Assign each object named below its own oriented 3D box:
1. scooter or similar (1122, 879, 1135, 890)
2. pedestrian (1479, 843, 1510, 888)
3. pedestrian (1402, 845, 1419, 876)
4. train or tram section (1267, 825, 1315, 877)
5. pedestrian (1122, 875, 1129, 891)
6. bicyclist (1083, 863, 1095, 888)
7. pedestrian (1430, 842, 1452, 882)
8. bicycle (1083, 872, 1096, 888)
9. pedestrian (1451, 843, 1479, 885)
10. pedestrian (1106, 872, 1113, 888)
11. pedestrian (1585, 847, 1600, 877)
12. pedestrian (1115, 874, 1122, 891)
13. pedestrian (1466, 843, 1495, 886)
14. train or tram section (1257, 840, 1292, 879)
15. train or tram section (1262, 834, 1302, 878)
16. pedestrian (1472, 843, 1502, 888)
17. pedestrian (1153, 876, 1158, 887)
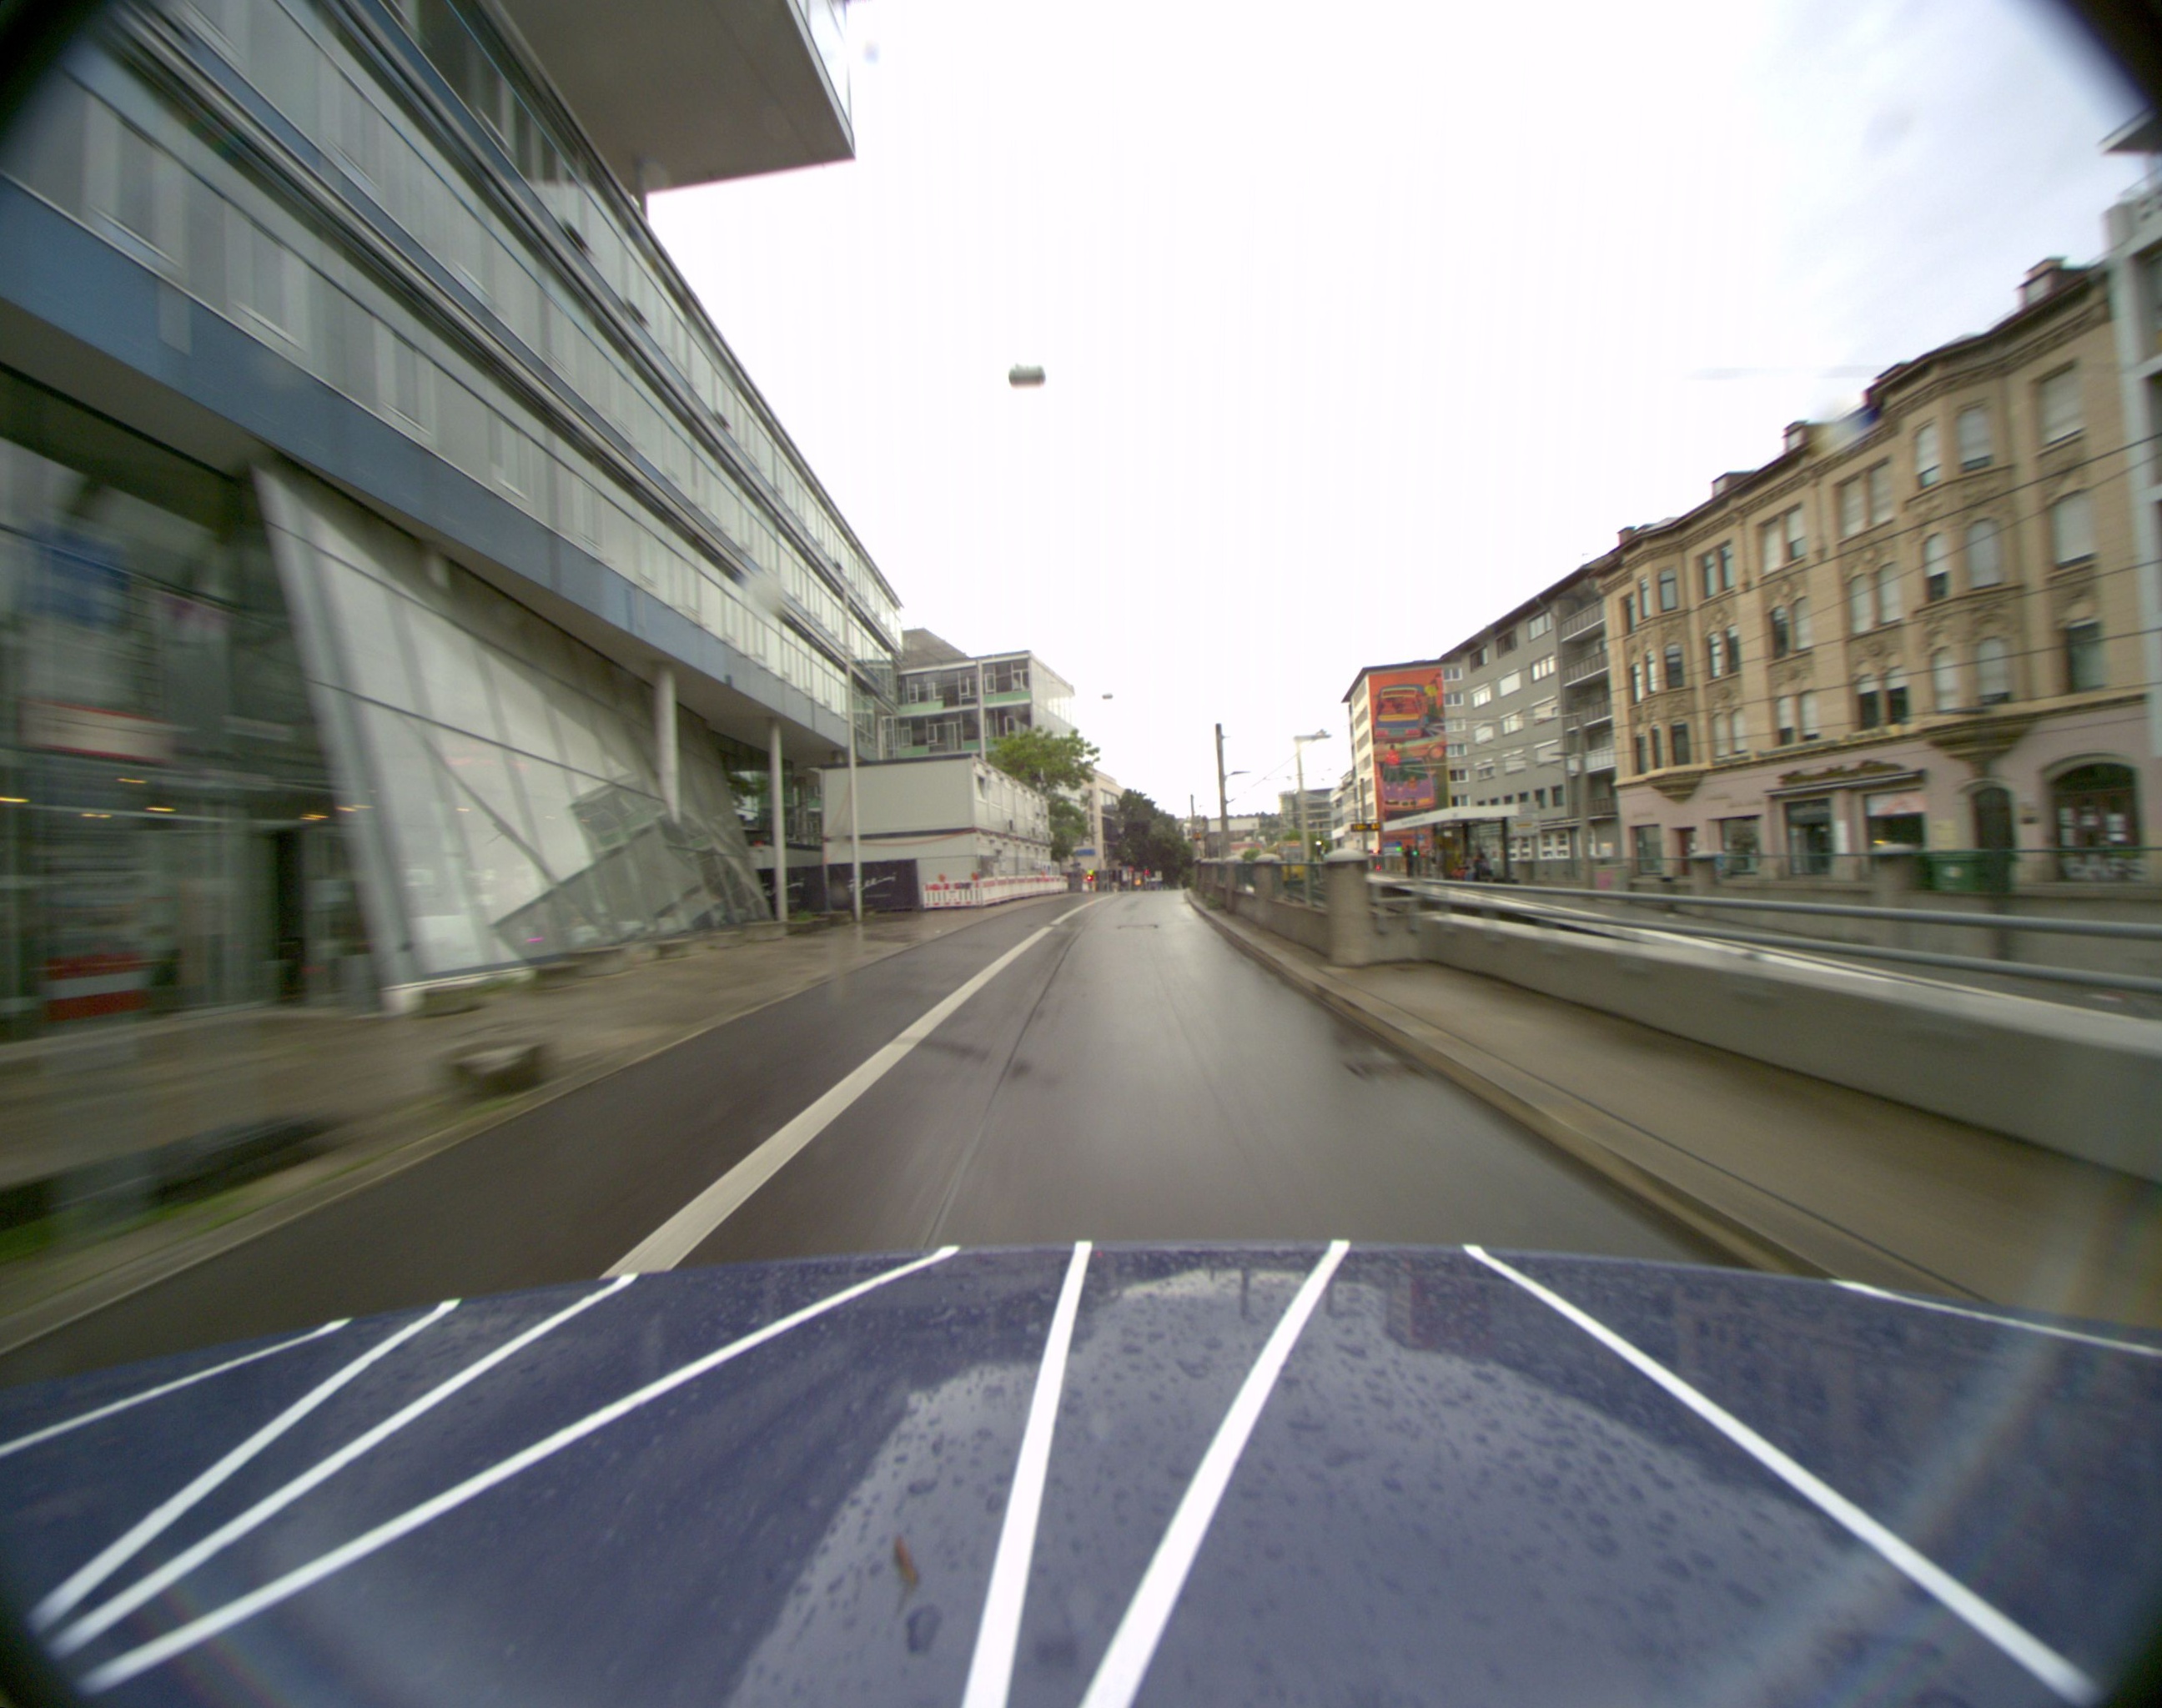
[{"bbox_3d":[5.445,3.484,86.906,1.385,1.172,0.511,-2,-2,-19],"label":"scooter or similar"},{"bbox_3d":[15.823,0.435,29.077,0.773,1.639,0.778,3,0,12],"label":"pedestrian"},{"bbox_3d":[16.337,0.316,37.689,0.558,1.528,0.517,-3,-1,8],"label":"pedestrian"},{"bbox_3d":[17.398,-0.105,63.608,2.783,3.668,9.727,-4,-3,10],"label":"train or tram section"},{"bbox_3d":[4.837,3.153,82.891,0.720,1.750,0.959,-2,-2,3],"label":"pedestrian"},{"bbox_3d":[0.551,1.457,51.641,0.663,1.629,0.793,1,-1,7],"label":"bicyclist"},{"bbox_3d":[15.530,0.356,32.776,0.634,1.650,0.683,-3,-1,11],"label":"pedestrian"},{"bbox_3d":[0.580,1.750,51.648,0.663,1.046,2.058,0,-2,7],"label":"bicycle"},{"bbox_3d":[15.684,0.407,31.082,0.773,1.639,0.778,3,0,12],"label":"pedestrian"},{"bbox_3d":[3.148,2.839,83.064,0.599,1.750,0.846,-3,-2,9],"label":"pedestrian"},{"bbox_3d":[28.592,0.439,42.497,0.422,1.672,0.608,-4,-2,18],"label":"pedestrian"},{"bbox_3d":[4.060,3.104,82.260,0.720,1.750,0.959,-2,-2,3],"label":"pedestrian"},{"bbox_3d":[15.735,0.426,29.930,0.773,1.639,0.778,3,0,12],"label":"pedestrian"},{"bbox_3d":[20.886,0.755,82.444,2.783,3.668,9.522,-4,-3,10],"label":"train or tram section"},{"bbox_3d":[19.176,0.333,73.070,2.783,3.668,9.522,-4,-3,10],"label":"train or tram section"},{"bbox_3d":[15.148,0.432,28.369,0.678,1.639,0.896,2,0,12],"label":"pedestrian"},{"bbox_3d":[10.591,3.946,108.302,0.559,1.613,0.485,-4,-4,13],"label":"pedestrian"}]
